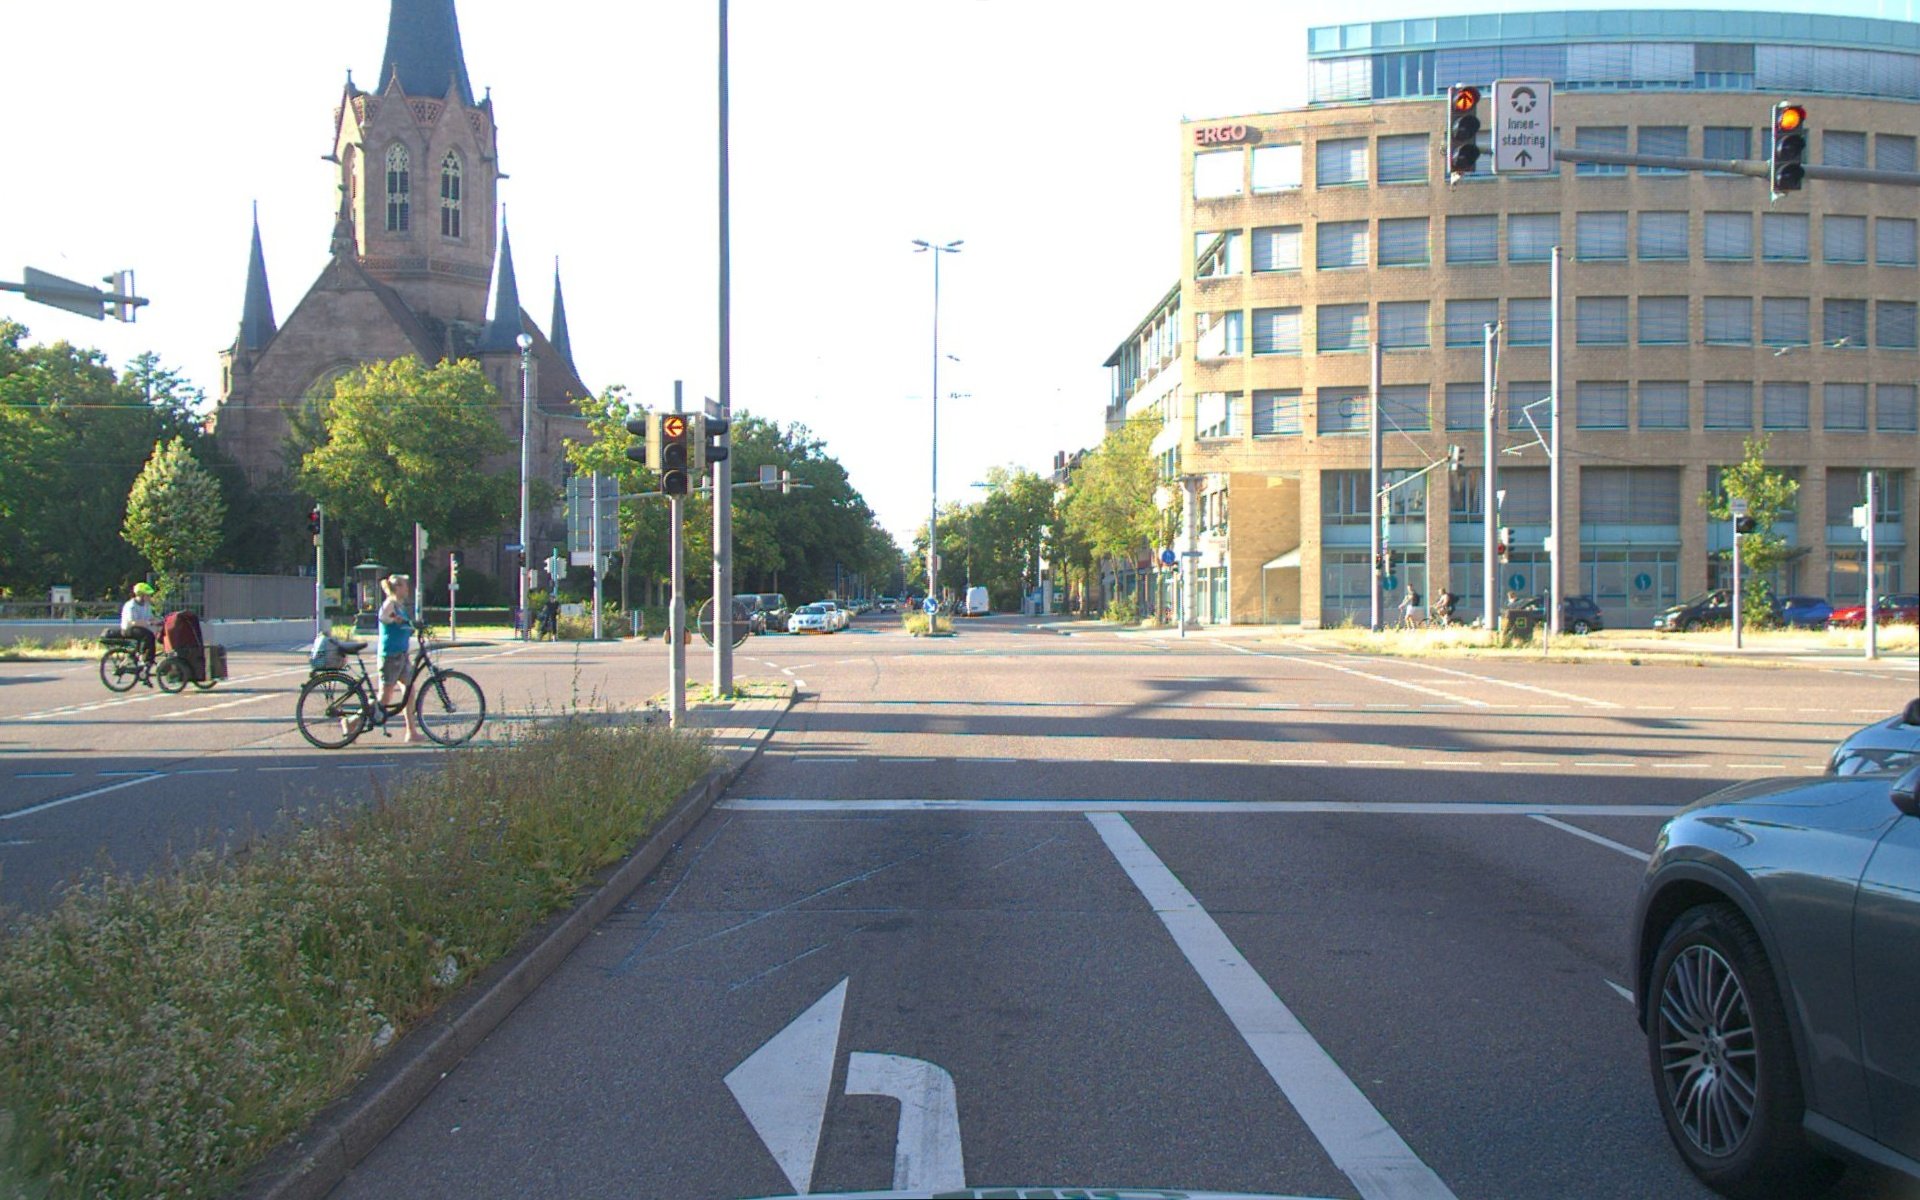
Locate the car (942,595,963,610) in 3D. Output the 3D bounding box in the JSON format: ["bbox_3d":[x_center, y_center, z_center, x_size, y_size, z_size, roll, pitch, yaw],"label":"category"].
[{"bbox_3d":[-0.846,0.217,184.084,1.955,1.620,3.996,0,0,-5],"label":"car"}]

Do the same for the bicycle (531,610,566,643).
[{"bbox_3d":[-15.182,0.970,60.961,0.641,1.159,1.657,-1,0,-38],"label":"bicycle"}]

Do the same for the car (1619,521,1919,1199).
[{"bbox_3d":[2.909,0.667,2.668,1.748,1.661,4.476,0,0,-3],"label":"car"}]

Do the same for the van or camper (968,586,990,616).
[{"bbox_3d":[1.717,0.067,153.260,1.953,2.686,5.350,0,0,0],"label":"van or camper"}]

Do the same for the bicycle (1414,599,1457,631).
[{"bbox_3d":[17.866,0.550,62.135,1.487,1.193,0.475,0,0,5],"label":"bicycle"}]

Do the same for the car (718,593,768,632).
[{"bbox_3d":[-9.643,0.541,73.693,1.744,1.676,3.999,0,0,-1],"label":"car"}]

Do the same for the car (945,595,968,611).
[{"bbox_3d":[-0.373,0.292,178.429,1.956,1.620,3.994,0,0,-7],"label":"car"}]

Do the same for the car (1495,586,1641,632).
[{"bbox_3d":[21.917,0.314,59.710,4.556,1.626,1.998,0,0,-5],"label":"car"}]

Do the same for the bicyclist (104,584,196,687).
[{"bbox_3d":[-12.281,0.521,25.117,0.862,1.513,1.161,0,0,-4],"label":"bicyclist"}]

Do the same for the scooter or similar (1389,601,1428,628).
[{"bbox_3d":[17.082,0.562,62.951,1.371,1.019,0.475,0,0,5],"label":"scooter or similar"}]

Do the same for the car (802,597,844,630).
[{"bbox_3d":[-6.582,0.625,79.829,1.744,1.490,3.999,0,0,-1],"label":"car"}]

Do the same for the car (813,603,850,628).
[{"bbox_3d":[-6.771,0.815,87.346,1.744,1.257,3.999,0,0,-1],"label":"car"}]

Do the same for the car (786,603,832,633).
[{"bbox_3d":[-6.657,0.783,73.251,1.744,1.257,3.999,0,0,-1],"label":"car"}]

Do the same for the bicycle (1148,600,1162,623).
[{"bbox_3d":[10.785,0.614,91.518,0.757,1.216,2.467,0,0,6],"label":"bicycle"}]

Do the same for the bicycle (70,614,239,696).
[{"bbox_3d":[-12.201,0.817,25.130,2.002,1.188,1.161,0,0,-4],"label":"bicycle"}]

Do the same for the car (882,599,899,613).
[{"bbox_3d":[-7.655,0.612,182.980,1.744,1.474,3.999,0,0,-1],"label":"car"}]

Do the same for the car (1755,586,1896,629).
[{"bbox_3d":[31.638,0.251,60.528,4.146,1.528,1.998,0,0,-5],"label":"car"}]

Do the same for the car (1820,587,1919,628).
[{"bbox_3d":[31.951,0.245,57.237,3.535,1.366,1.721,0,0,-2],"label":"car"}]

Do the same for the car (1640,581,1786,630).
[{"bbox_3d":[25.803,0.173,56.775,4.142,1.642,2.000,0,0,0],"label":"car"}]

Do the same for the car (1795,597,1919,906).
[{"bbox_3d":[5.399,0.744,7.225,1.553,1.472,3.646,1,0,-2],"label":"car"}]

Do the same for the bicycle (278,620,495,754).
[{"bbox_3d":[-5.400,0.805,15.648,1.791,1.209,0.733,0,0,-3],"label":"bicycle"}]

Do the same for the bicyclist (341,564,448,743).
[{"bbox_3d":[-5.499,0.501,16.133,0.767,1.689,0.900,0,0,-4],"label":"bicyclist"}]

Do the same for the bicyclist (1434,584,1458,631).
[{"bbox_3d":[18.220,0.272,62.055,0.774,1.766,0.475,0,0,5],"label":"bicyclist"}]

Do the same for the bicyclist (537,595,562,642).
[{"bbox_3d":[-15.132,0.681,60.898,0.634,1.724,0.772,0,0,-37],"label":"bicyclist"}]

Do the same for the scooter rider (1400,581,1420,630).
[{"bbox_3d":[17.130,0.195,62.945,0.666,1.846,0.475,0,0,5],"label":"scooter rider"}]

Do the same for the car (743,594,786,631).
[{"bbox_3d":[-9.559,0.594,81.098,1.744,1.734,3.999,0,0,-1],"label":"car"}]
